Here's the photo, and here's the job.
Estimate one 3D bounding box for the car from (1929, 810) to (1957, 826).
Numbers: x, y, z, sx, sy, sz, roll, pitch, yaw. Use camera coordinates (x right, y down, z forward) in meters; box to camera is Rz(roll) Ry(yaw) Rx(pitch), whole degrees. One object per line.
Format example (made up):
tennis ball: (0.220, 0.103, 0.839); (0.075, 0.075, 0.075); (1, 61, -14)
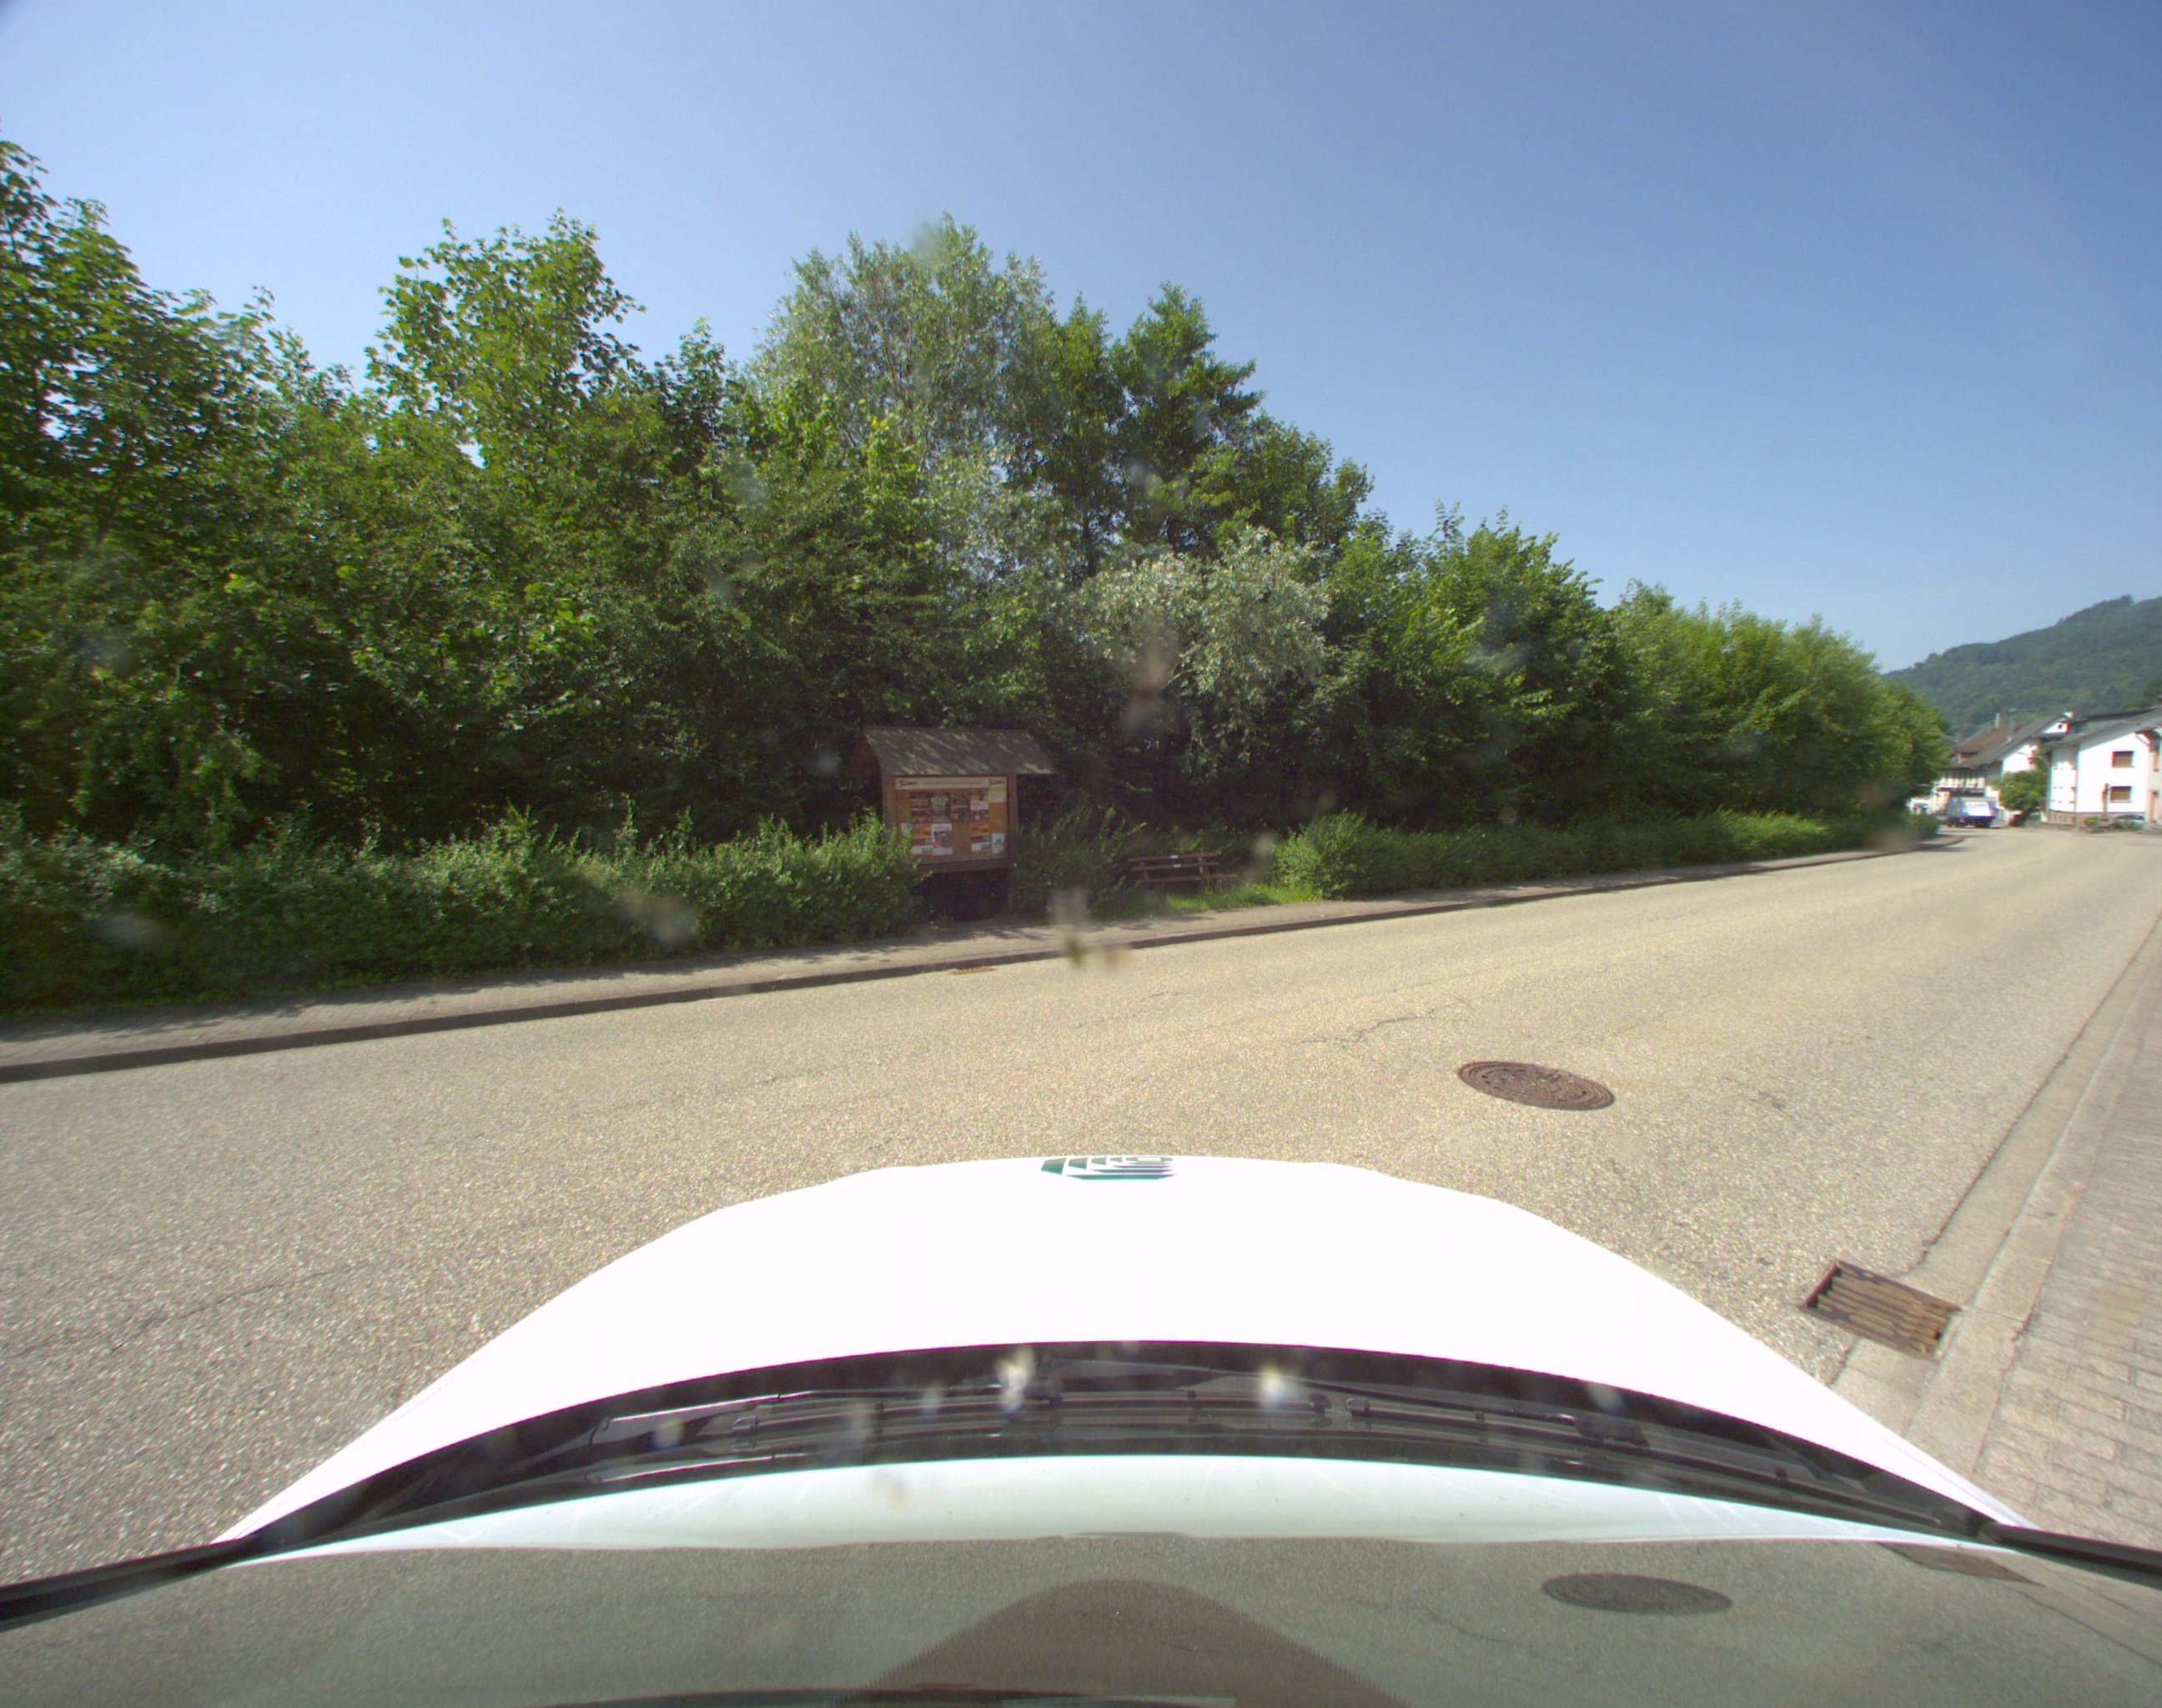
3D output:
car: (112.079, -4.665, 105.902); (1.974, 1.882, 4.025); (-2, -1, 39)

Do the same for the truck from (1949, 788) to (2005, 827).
truck: (98.304, -5.025, 89.467); (3.331, 3.782, 8.491); (-2, -1, 43)
